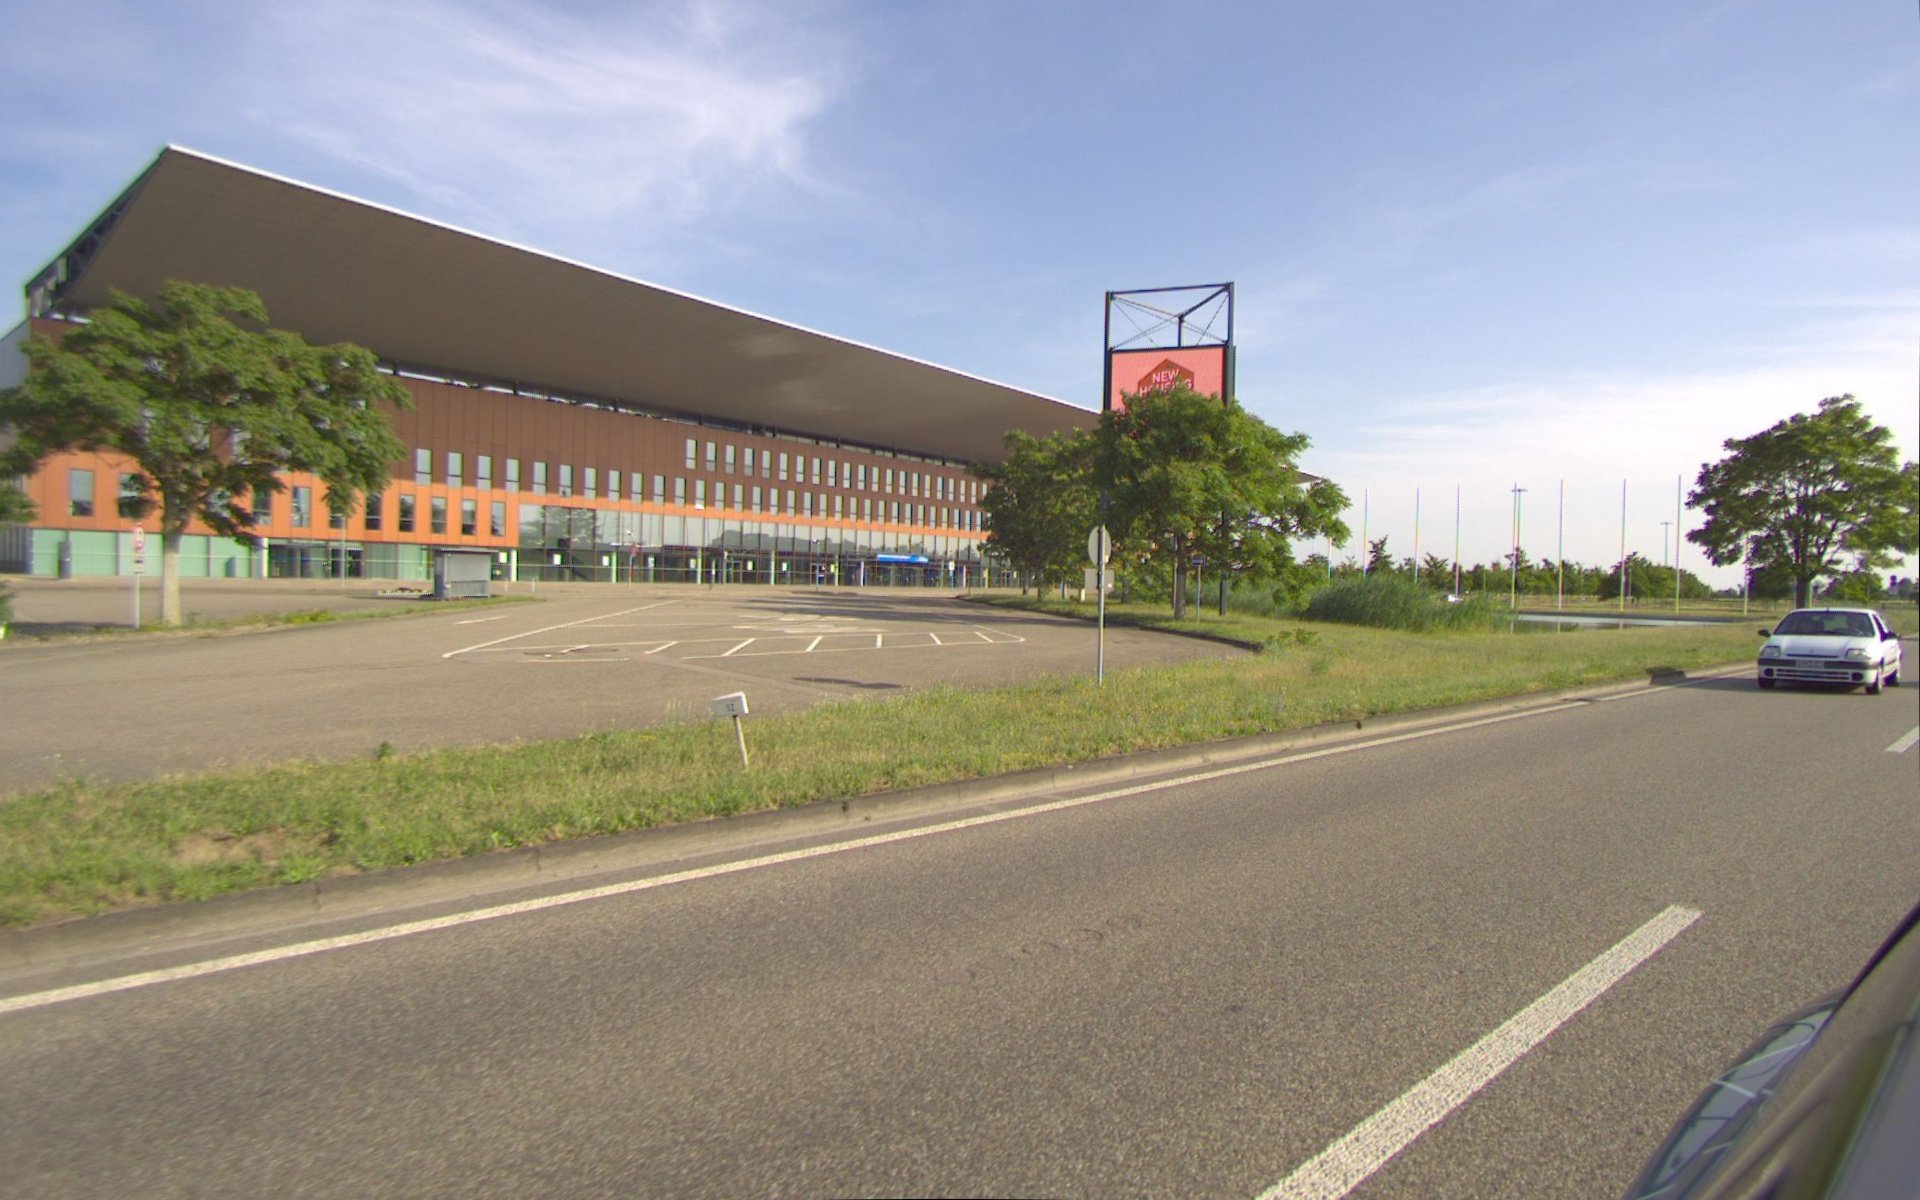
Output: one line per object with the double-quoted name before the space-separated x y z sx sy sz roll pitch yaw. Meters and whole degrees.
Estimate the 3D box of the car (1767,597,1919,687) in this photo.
"car" 15.445 0.656 17.630 3.391 1.396 1.577 0 1 -41

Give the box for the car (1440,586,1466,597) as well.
"car" 72.034 -1.258 147.987 3.493 1.473 1.714 0 0 -29
